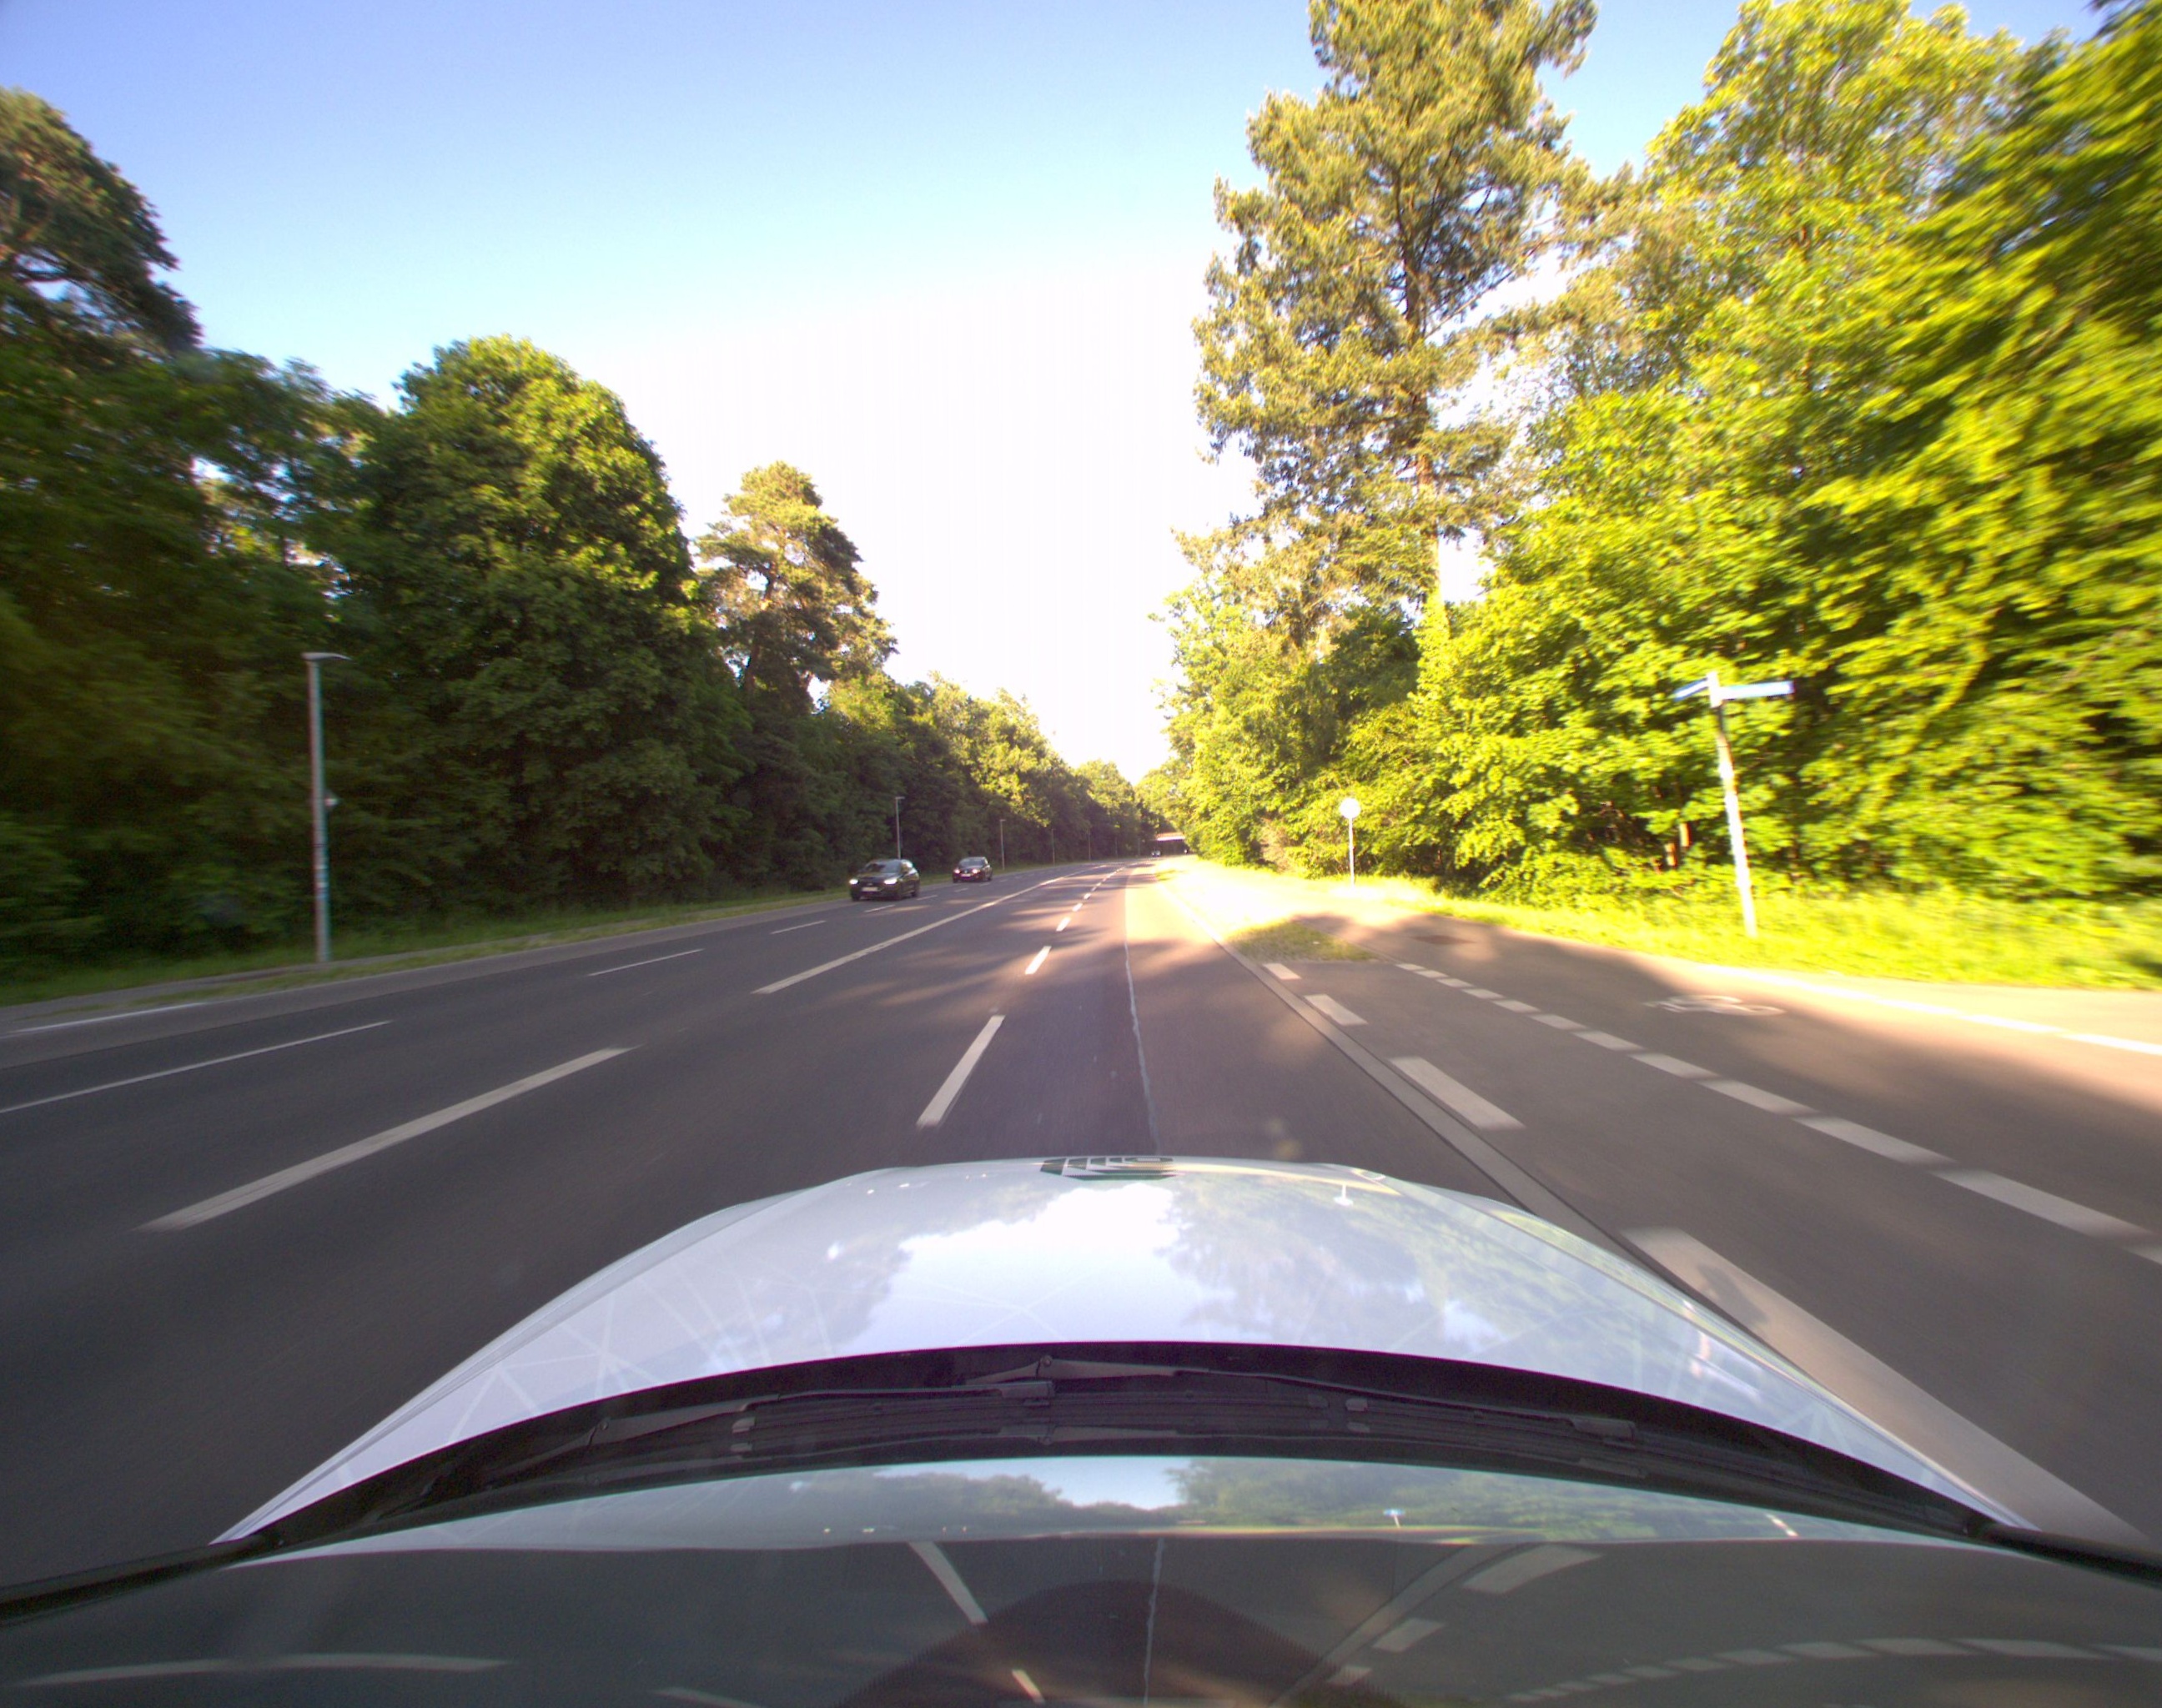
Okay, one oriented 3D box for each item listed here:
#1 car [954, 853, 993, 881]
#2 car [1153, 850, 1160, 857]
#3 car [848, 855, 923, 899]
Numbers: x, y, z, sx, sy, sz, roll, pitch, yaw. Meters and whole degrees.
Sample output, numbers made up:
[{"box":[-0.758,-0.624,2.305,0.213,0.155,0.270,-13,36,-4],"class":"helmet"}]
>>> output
[{"box":[-6.179,0.725,47.206,1.651,1.480,4.172,-1,0,1],"class":"car"},{"box":[21.038,-0.140,226.703,1.798,1.663,4.530,-2,0,6],"class":"car"},{"box":[-7.039,0.787,29.706,1.733,1.457,3.999,0,0,1],"class":"car"}]
